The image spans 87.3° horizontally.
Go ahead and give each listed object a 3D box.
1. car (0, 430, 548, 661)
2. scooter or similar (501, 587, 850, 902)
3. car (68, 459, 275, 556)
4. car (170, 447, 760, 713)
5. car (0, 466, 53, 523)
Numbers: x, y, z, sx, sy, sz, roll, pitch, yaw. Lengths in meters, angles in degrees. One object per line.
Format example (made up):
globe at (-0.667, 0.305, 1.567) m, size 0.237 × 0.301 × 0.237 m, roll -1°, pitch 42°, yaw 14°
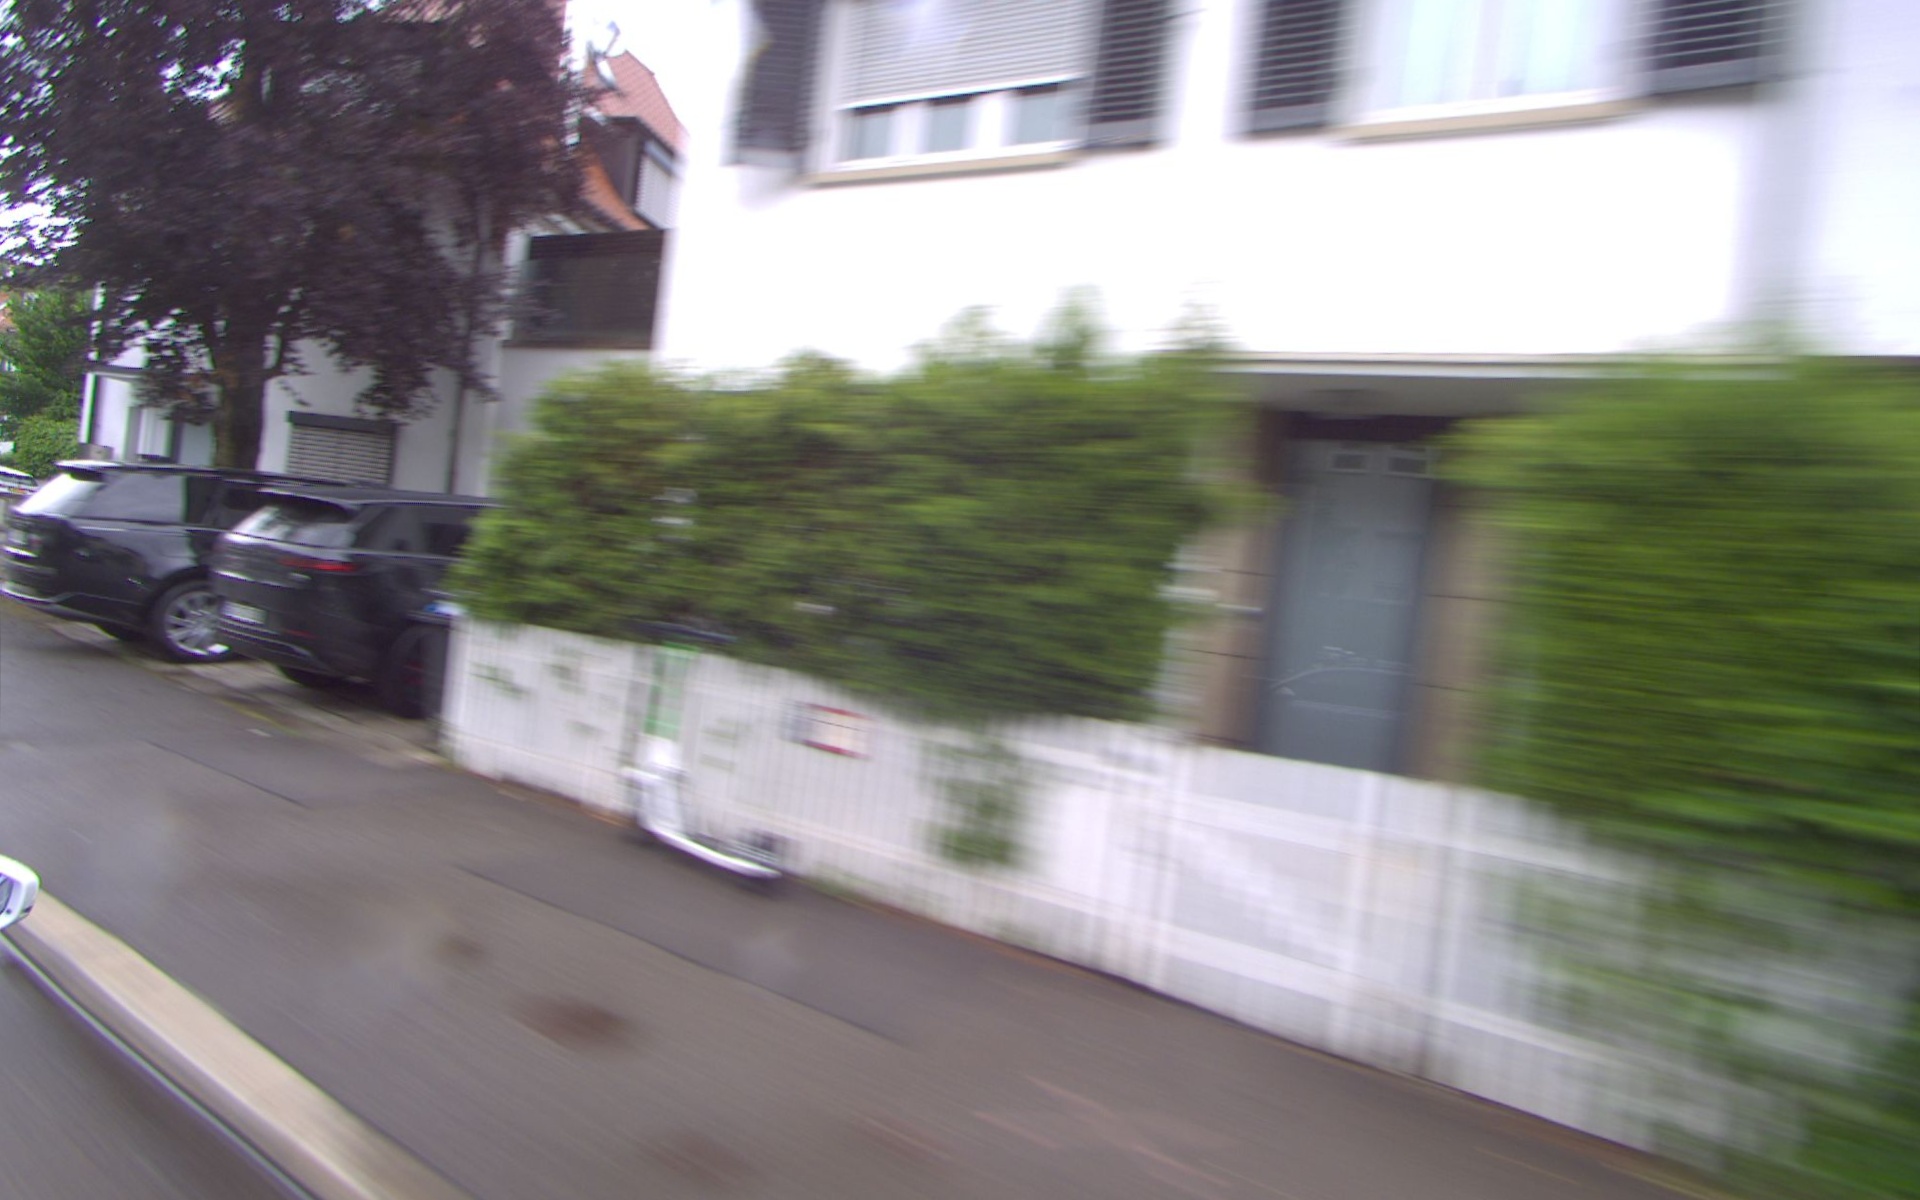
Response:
car at (-7.181, -0.450, 10.902) m, size 1.966 × 1.899 × 4.665 m, roll 8°, pitch 2°, yaw 31°
scooter or similar at (-1.473, 0.637, 5.020) m, size 1.836 × 1.214 × 0.457 m, roll 6°, pitch -2°, yaw 33°
car at (-18.810, -2.182, 24.102) m, size 1.707 × 1.527 × 3.585 m, roll 9°, pitch -1°, yaw 44°
car at (-4.329, -0.121, 9.659) m, size 1.966 × 1.836 × 4.665 m, roll 8°, pitch 2°, yaw 31°
car at (-33.016, -3.798, 33.757) m, size 3.987 × 1.627 × 1.814 m, roll 10°, pitch 0°, yaw 15°
